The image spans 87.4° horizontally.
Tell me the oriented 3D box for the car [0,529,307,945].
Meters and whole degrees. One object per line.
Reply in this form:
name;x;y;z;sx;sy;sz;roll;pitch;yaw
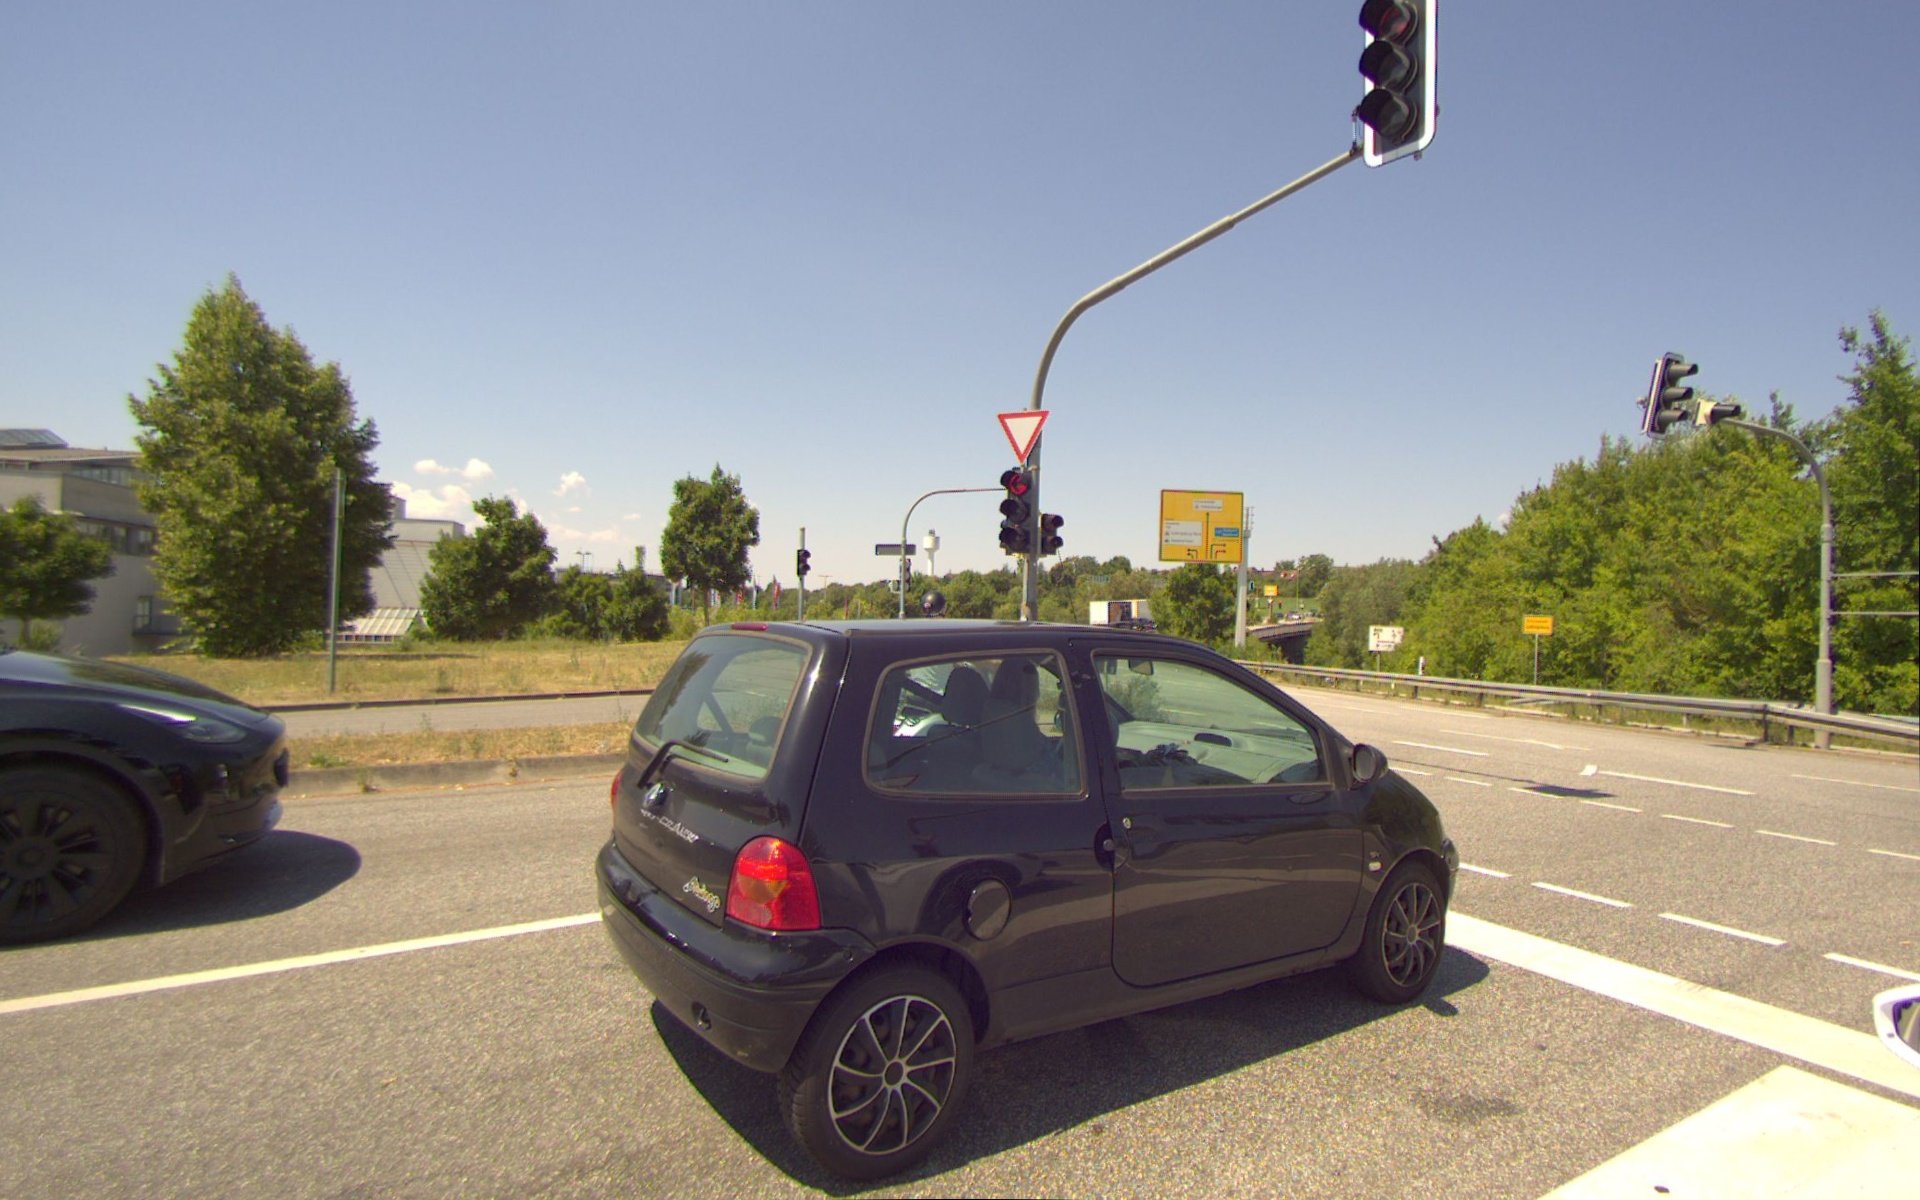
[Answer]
car;-5.278;0.494;3.945;4.462;1.622;1.862;2;0;-36

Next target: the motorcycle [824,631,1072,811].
motorcycle;-0.060;0.908;7.921;1.921;1.255;0.572;3;-1;-35

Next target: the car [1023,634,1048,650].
car;7.629;4.192;100.936;1.775;1.452;3.931;4;-2;15

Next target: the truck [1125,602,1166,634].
truck;25.741;2.412;139.188;3.188;4.305;6.216;1;1;35

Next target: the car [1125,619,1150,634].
car;22.972;3.433;129.680;1.852;1.755;3.992;1;0;31

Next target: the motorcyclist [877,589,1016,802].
motorcyclist;-0.107;0.720;7.897;0.838;1.560;0.607;3;0;-34

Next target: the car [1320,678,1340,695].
car;37.354;8.725;101.569;1.776;1.452;4.415;4;-2;20

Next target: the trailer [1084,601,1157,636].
trailer;21.426;2.333;132.915;3.188;4.305;15.356;1;1;35

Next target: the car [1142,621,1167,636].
car;24.410;3.570;125.743;1.849;1.644;3.993;1;0;30

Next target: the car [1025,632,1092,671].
car;4.132;2.146;42.788;1.619;1.413;3.982;5;-2;-12

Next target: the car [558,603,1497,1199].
car;0.379;0.773;3.823;3.267;1.426;1.609;2;-1;-34
